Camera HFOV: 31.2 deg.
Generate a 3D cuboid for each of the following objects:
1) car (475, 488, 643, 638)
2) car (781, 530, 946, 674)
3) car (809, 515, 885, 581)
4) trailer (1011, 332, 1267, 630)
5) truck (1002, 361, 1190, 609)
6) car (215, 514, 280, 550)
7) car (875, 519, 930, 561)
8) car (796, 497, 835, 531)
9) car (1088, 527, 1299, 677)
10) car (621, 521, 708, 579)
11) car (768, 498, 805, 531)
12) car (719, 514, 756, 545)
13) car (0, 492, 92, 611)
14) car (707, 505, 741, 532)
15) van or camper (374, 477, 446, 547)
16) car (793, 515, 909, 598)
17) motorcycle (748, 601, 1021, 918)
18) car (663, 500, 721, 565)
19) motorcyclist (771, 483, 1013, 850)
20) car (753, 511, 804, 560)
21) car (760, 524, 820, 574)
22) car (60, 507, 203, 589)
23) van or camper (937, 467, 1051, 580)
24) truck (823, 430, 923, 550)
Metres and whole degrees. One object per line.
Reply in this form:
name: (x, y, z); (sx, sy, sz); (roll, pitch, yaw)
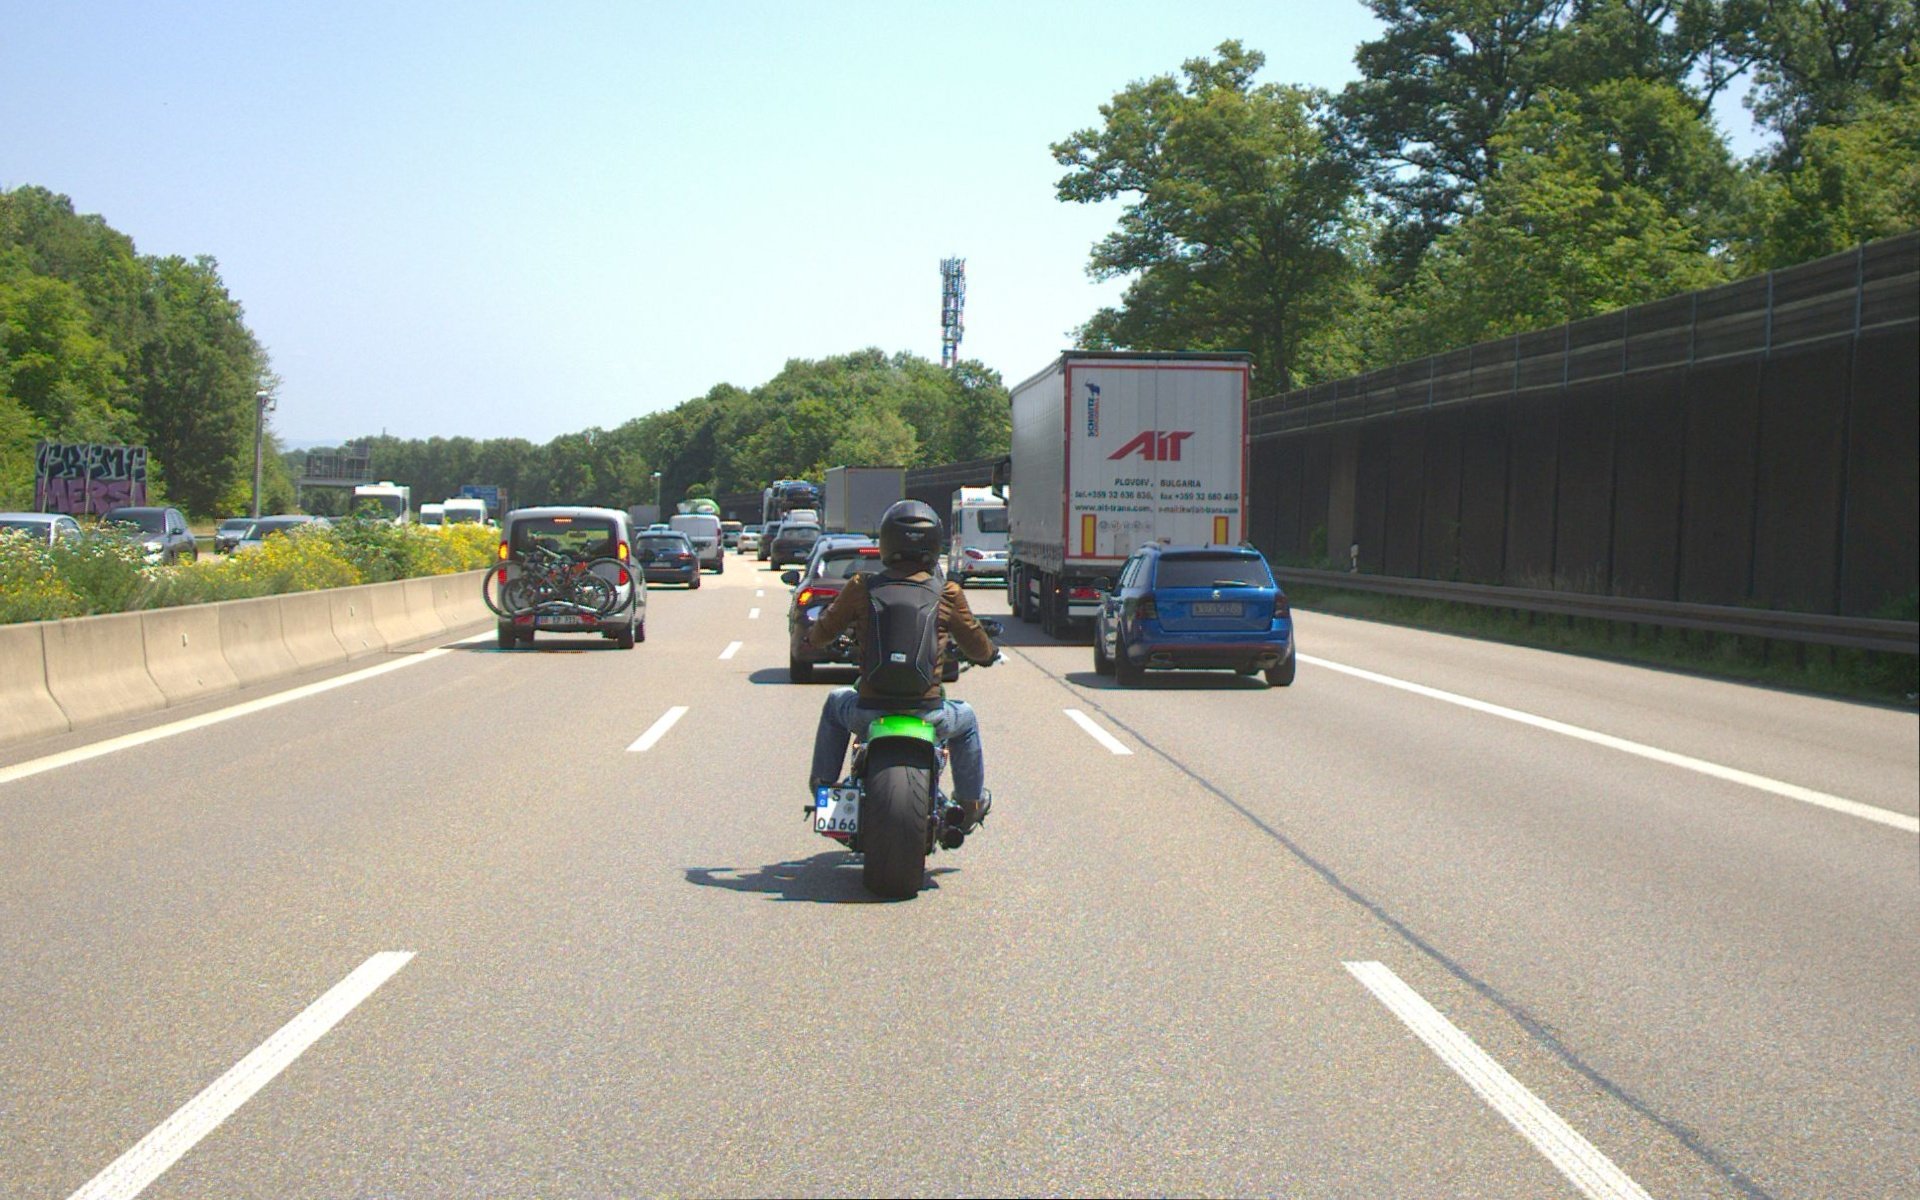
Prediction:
car: (-5.219, -0.480, 45.222); (1.899, 1.867, 4.413); (0, 0, -3)
car: (-1.043, 0.007, 36.672); (1.662, 1.448, 3.869); (0, 0, -2)
car: (-2.720, -1.265, 83.268); (1.779, 1.546, 3.585); (0, 1, -1)
trailer: (2.529, -1.781, 53.519); (2.885, 4.024, 13.797); (0, 1, -2)
truck: (2.301, -1.993, 60.370); (2.885, 4.132, 5.986); (0, 1, -2)
car: (-28.834, -2.772, 139.188); (1.993, 1.427, 4.192); (0, 1, -4)
car: (-2.235, -2.322, 132.753); (1.993, 1.568, 4.000); (0, 0, -3)
car: (-8.367, -4.939, 198.621); (2.107, 1.870, 4.001); (0, 0, -4)
car: (2.394, 0.006, 36.299); (1.650, 1.477, 4.482); (0, 0, -3)
car: (-7.295, -1.227, 85.254); (1.993, 1.382, 4.000); (0, 0, -3)
car: (-10.326, -5.078, 204.144); (2.107, 1.870, 4.001); (0, 0, -4)
car: (-11.004, -3.492, 170.229); (1.832, 1.491, 3.744); (0, 0, -4)
car: (-12.087, -0.596, 43.262); (1.477, 1.437, 3.564); (0, 0, -1)
car: (-13.643, -4.714, 198.576); (1.832, 1.491, 3.744); (0, 0, -2)
van or camper: (-27.168, -4.316, 170.084); (2.539, 3.306, 9.003); (0, 0, -3)
car: (-1.960, -0.766, 61.126); (1.993, 1.425, 3.848); (0, 0, -2)
motorcycle: (-0.269, 0.619, 14.765); (0.964, 1.144, 2.811); (1, 2, 3)
car: (-8.484, -2.116, 108.658); (1.791, 2.007, 3.643); (0, 0, -5)
motorcyclist: (-0.261, 0.259, 14.738); (0.900, 1.470, 1.872); (0, 0, 3)
car: (-7.598, -2.672, 143.804); (1.911, 2.007, 3.691); (0, 0, -6)
car: (-5.789, -1.717, 116.789); (1.993, 1.634, 4.000); (0, 0, -3)
car: (-16.686, -1.034, 69.408); (1.993, 1.585, 4.163); (0, 0, -2)
van or camper: (0.823, -1.935, 89.376); (2.685, 2.803, 6.803); (0, 0, -2)
truck: (-3.825, -4.677, 148.750); (3.802, 4.943, 8.952); (0, 0, -5)
